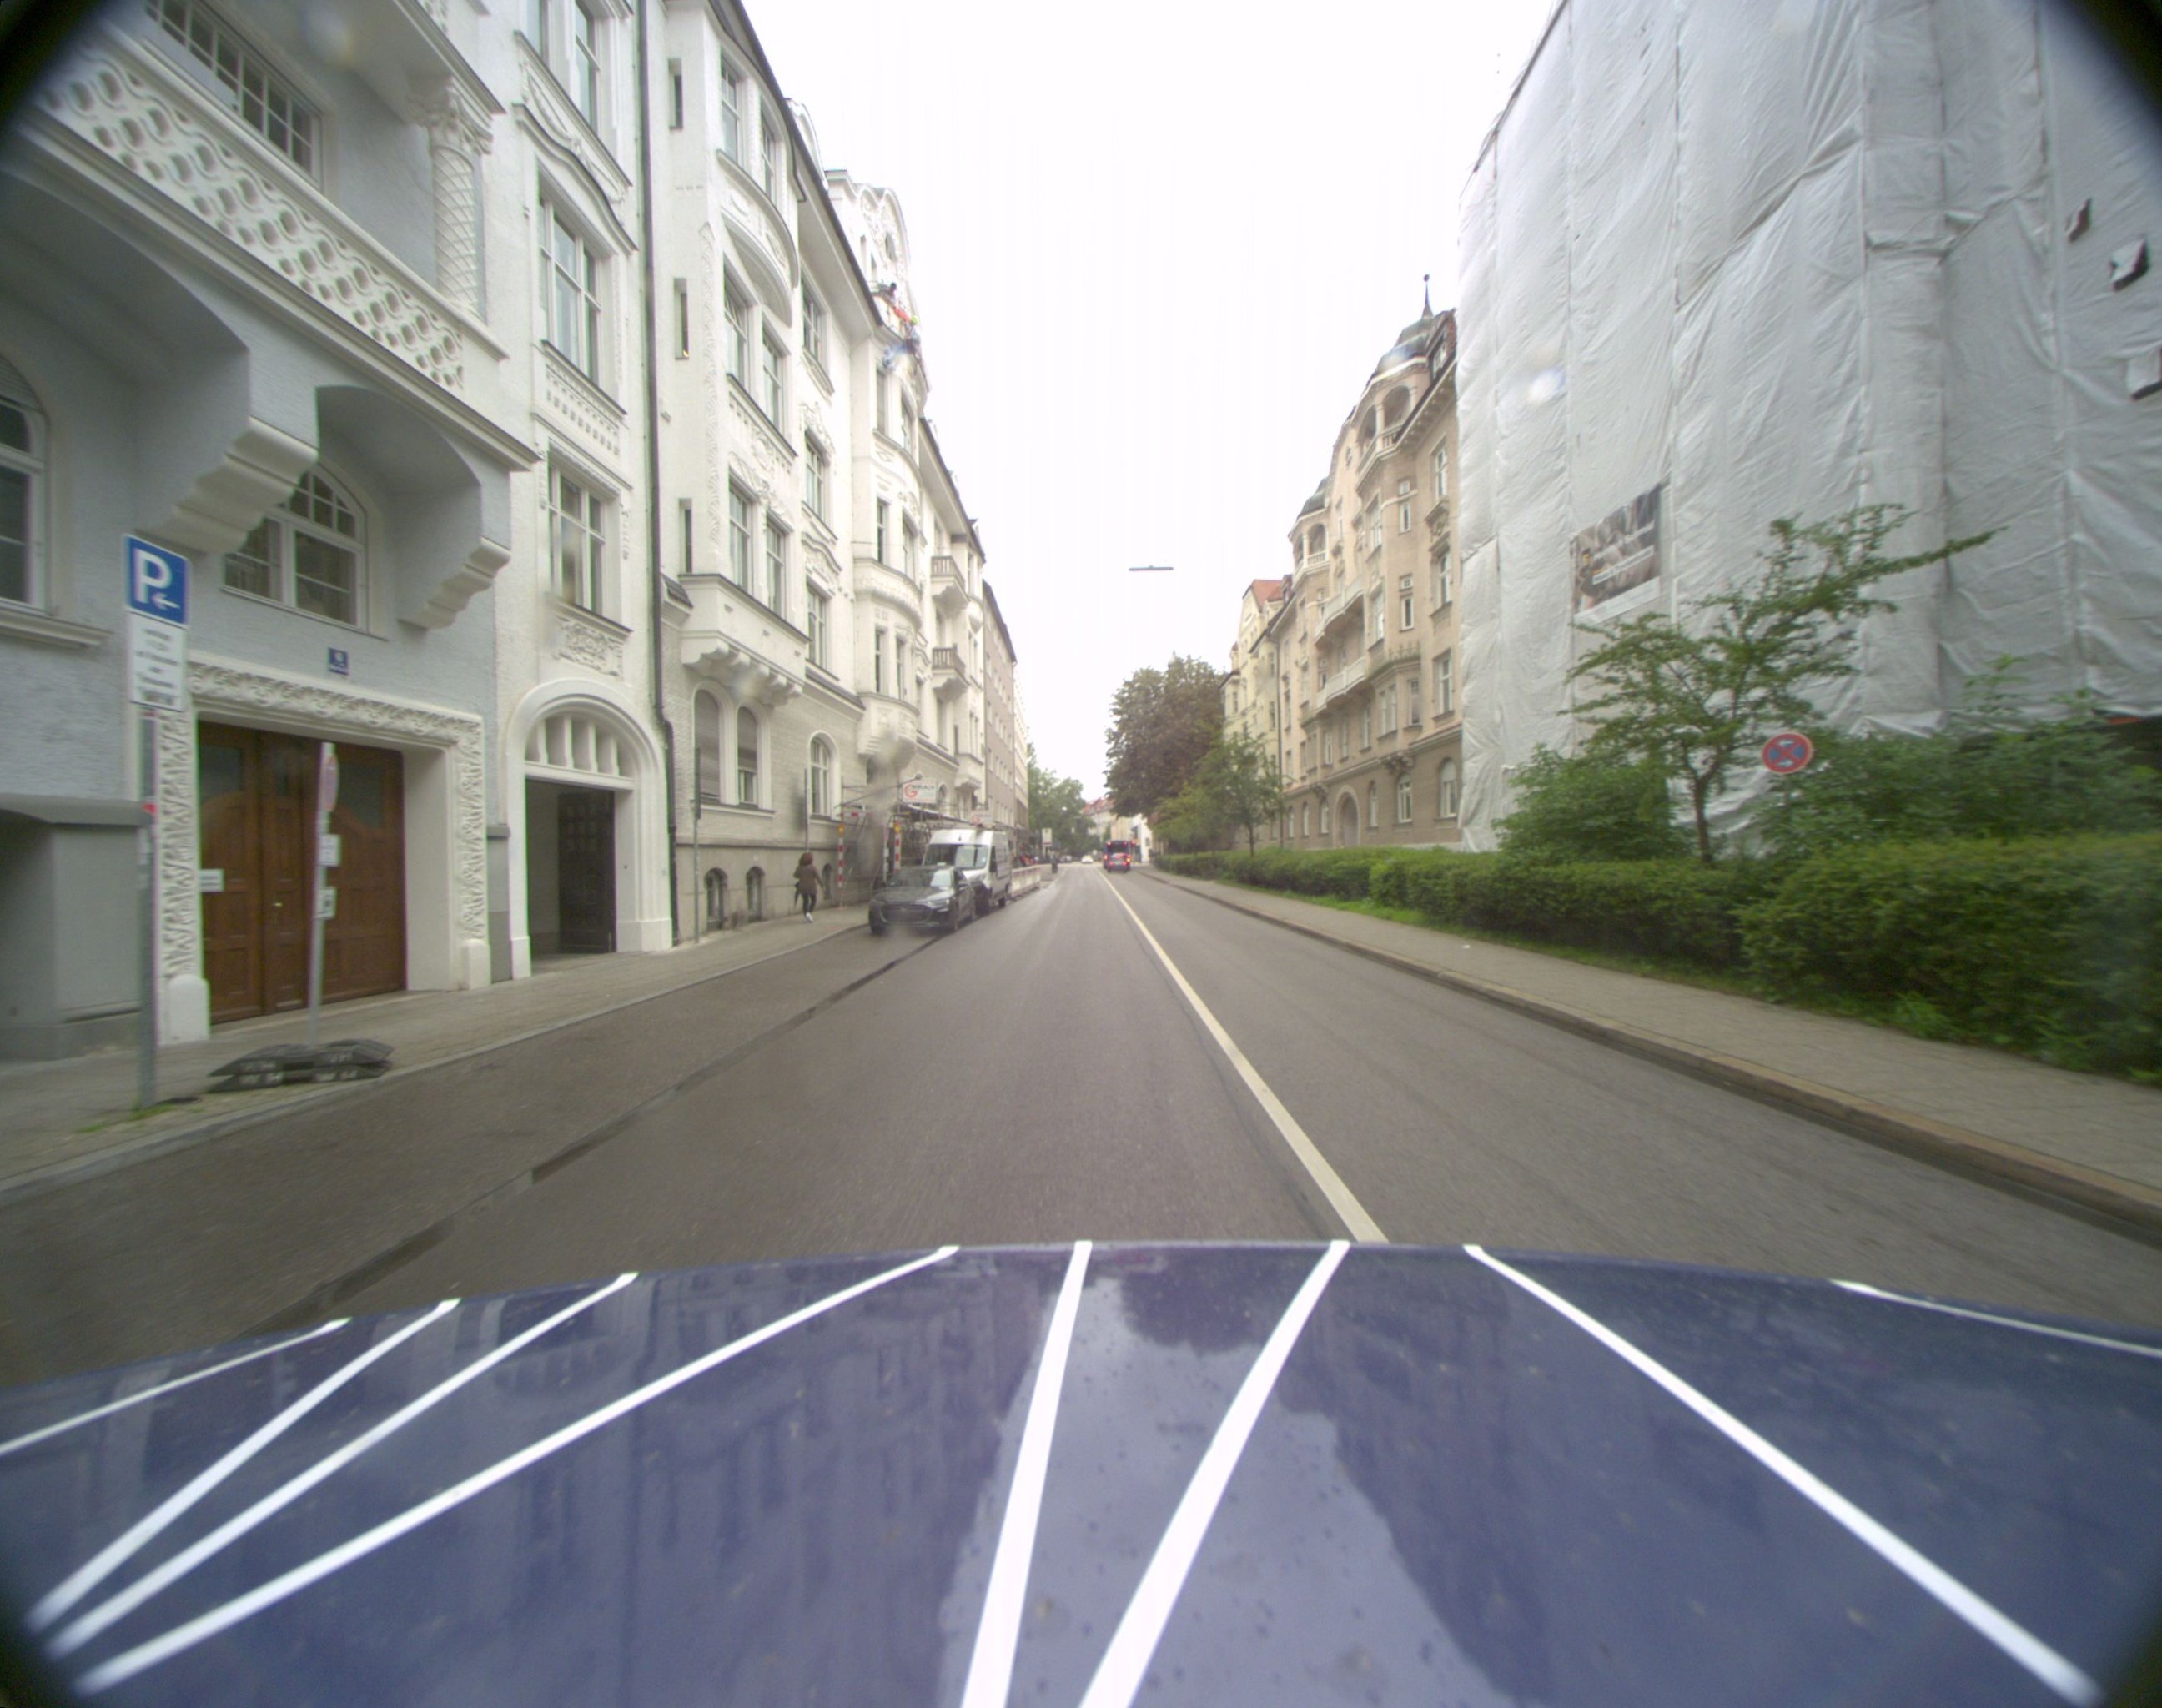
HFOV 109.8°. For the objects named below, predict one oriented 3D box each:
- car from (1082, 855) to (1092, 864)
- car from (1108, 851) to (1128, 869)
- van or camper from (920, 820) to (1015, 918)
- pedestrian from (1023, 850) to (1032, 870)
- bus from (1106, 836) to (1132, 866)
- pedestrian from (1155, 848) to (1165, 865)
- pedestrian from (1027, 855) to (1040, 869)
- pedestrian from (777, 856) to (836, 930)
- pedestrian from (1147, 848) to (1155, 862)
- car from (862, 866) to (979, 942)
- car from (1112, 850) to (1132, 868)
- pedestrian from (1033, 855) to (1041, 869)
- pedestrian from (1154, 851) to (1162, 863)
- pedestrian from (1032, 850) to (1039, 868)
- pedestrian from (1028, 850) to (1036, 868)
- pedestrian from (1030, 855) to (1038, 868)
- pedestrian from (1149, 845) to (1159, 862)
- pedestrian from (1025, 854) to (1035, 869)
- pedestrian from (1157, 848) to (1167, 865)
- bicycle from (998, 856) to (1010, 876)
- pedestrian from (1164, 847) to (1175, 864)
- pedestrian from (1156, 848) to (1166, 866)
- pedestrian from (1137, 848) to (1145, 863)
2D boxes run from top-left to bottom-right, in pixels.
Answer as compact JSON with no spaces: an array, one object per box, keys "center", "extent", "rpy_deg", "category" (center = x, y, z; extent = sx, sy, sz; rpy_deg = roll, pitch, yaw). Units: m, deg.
[{"center":[1.133,1.031,143.210],"extent":[1.927,1.608,3.999],"rpy_deg":[-1,0,0],"category":"car"},{"center":[3.201,0.479,66.028],"extent":[1.588,1.471,3.782],"rpy_deg":[-1,0,1],"category":"car"},{"center":[-3.315,0.397,23.321],"extent":[1.958,2.621,5.458],"rpy_deg":[-1,1,1],"category":"van or camper"},{"center":[-4.606,0.502,65.532],"extent":[0.704,1.723,0.746],"rpy_deg":[-1,1,1],"category":"pedestrian"},{"center":[4.025,-0.311,82.660],"extent":[2.586,3.083,8.923],"rpy_deg":[-1,0,1],"category":"bus"},{"center":[8.072,0.248,77.542],"extent":[0.875,1.735,0.910],"rpy_deg":[-1,1,0],"category":"pedestrian"},{"center":[-4.347,0.717,69.908],"extent":[1.099,1.230,0.668],"rpy_deg":[-1,1,1],"category":"pedestrian"},{"center":[-6.149,0.855,17.070],"extent":[0.923,1.546,1.016],"rpy_deg":[1,2,1],"category":"pedestrian"},{"center":[9.875,0.137,107.740],"extent":[0.952,2.002,1.397],"rpy_deg":[-1,1,11],"category":"pedestrian"},{"center":[-3.481,1.028,17.214],"extent":[1.758,1.426,4.086],"rpy_deg":[-1,0,0],"category":"car"},{"center":[3.892,0.432,72.818],"extent":[1.772,1.635,4.273],"rpy_deg":[-1,0,1],"category":"car"},{"center":[-4.142,0.731,70.947],"extent":[0.709,1.230,0.585],"rpy_deg":[-1,1,1],"category":"pedestrian"},{"center":[8.726,0.330,86.218],"extent":[0.830,1.333,0.754],"rpy_deg":[-1,1,-2],"category":"pedestrian"},{"center":[-4.499,0.475,75.328],"extent":[0.659,1.723,0.696],"rpy_deg":[-1,1,1],"category":"pedestrian"},{"center":[-4.653,0.476,72.024],"extent":[0.659,1.723,0.684],"rpy_deg":[-1,1,1],"category":"pedestrian"},{"center":[-4.391,0.720,71.453],"extent":[0.681,1.230,0.495],"rpy_deg":[-1,1,1],"category":"pedestrian"},{"center":[9.016,-0.063,93.961],"extent":[0.832,2.002,0.778],"rpy_deg":[-2,1,-42],"category":"pedestrian"},{"center":[-4.566,0.683,68.214],"extent":[0.862,1.344,0.862],"rpy_deg":[-1,1,1],"category":"pedestrian"},{"center":[8.138,0.248,76.652],"extent":[0.875,1.735,0.786],"rpy_deg":[-1,1,0],"category":"pedestrian"},{"center":[-5.158,0.807,50.795],"extent":[0.513,1.253,1.820],"rpy_deg":[3,0,1],"category":"bicycle"},{"center":[9.058,0.184,77.664],"extent":[0.784,1.735,0.877],"rpy_deg":[0,1,33],"category":"pedestrian"},{"center":[7.965,0.275,75.794],"extent":[0.910,1.735,0.847],"rpy_deg":[-1,1,0],"category":"pedestrian"},{"center":[8.475,0.190,107.807],"extent":[0.952,2.002,1.397],"rpy_deg":[-1,1,11],"category":"pedestrian"}]
